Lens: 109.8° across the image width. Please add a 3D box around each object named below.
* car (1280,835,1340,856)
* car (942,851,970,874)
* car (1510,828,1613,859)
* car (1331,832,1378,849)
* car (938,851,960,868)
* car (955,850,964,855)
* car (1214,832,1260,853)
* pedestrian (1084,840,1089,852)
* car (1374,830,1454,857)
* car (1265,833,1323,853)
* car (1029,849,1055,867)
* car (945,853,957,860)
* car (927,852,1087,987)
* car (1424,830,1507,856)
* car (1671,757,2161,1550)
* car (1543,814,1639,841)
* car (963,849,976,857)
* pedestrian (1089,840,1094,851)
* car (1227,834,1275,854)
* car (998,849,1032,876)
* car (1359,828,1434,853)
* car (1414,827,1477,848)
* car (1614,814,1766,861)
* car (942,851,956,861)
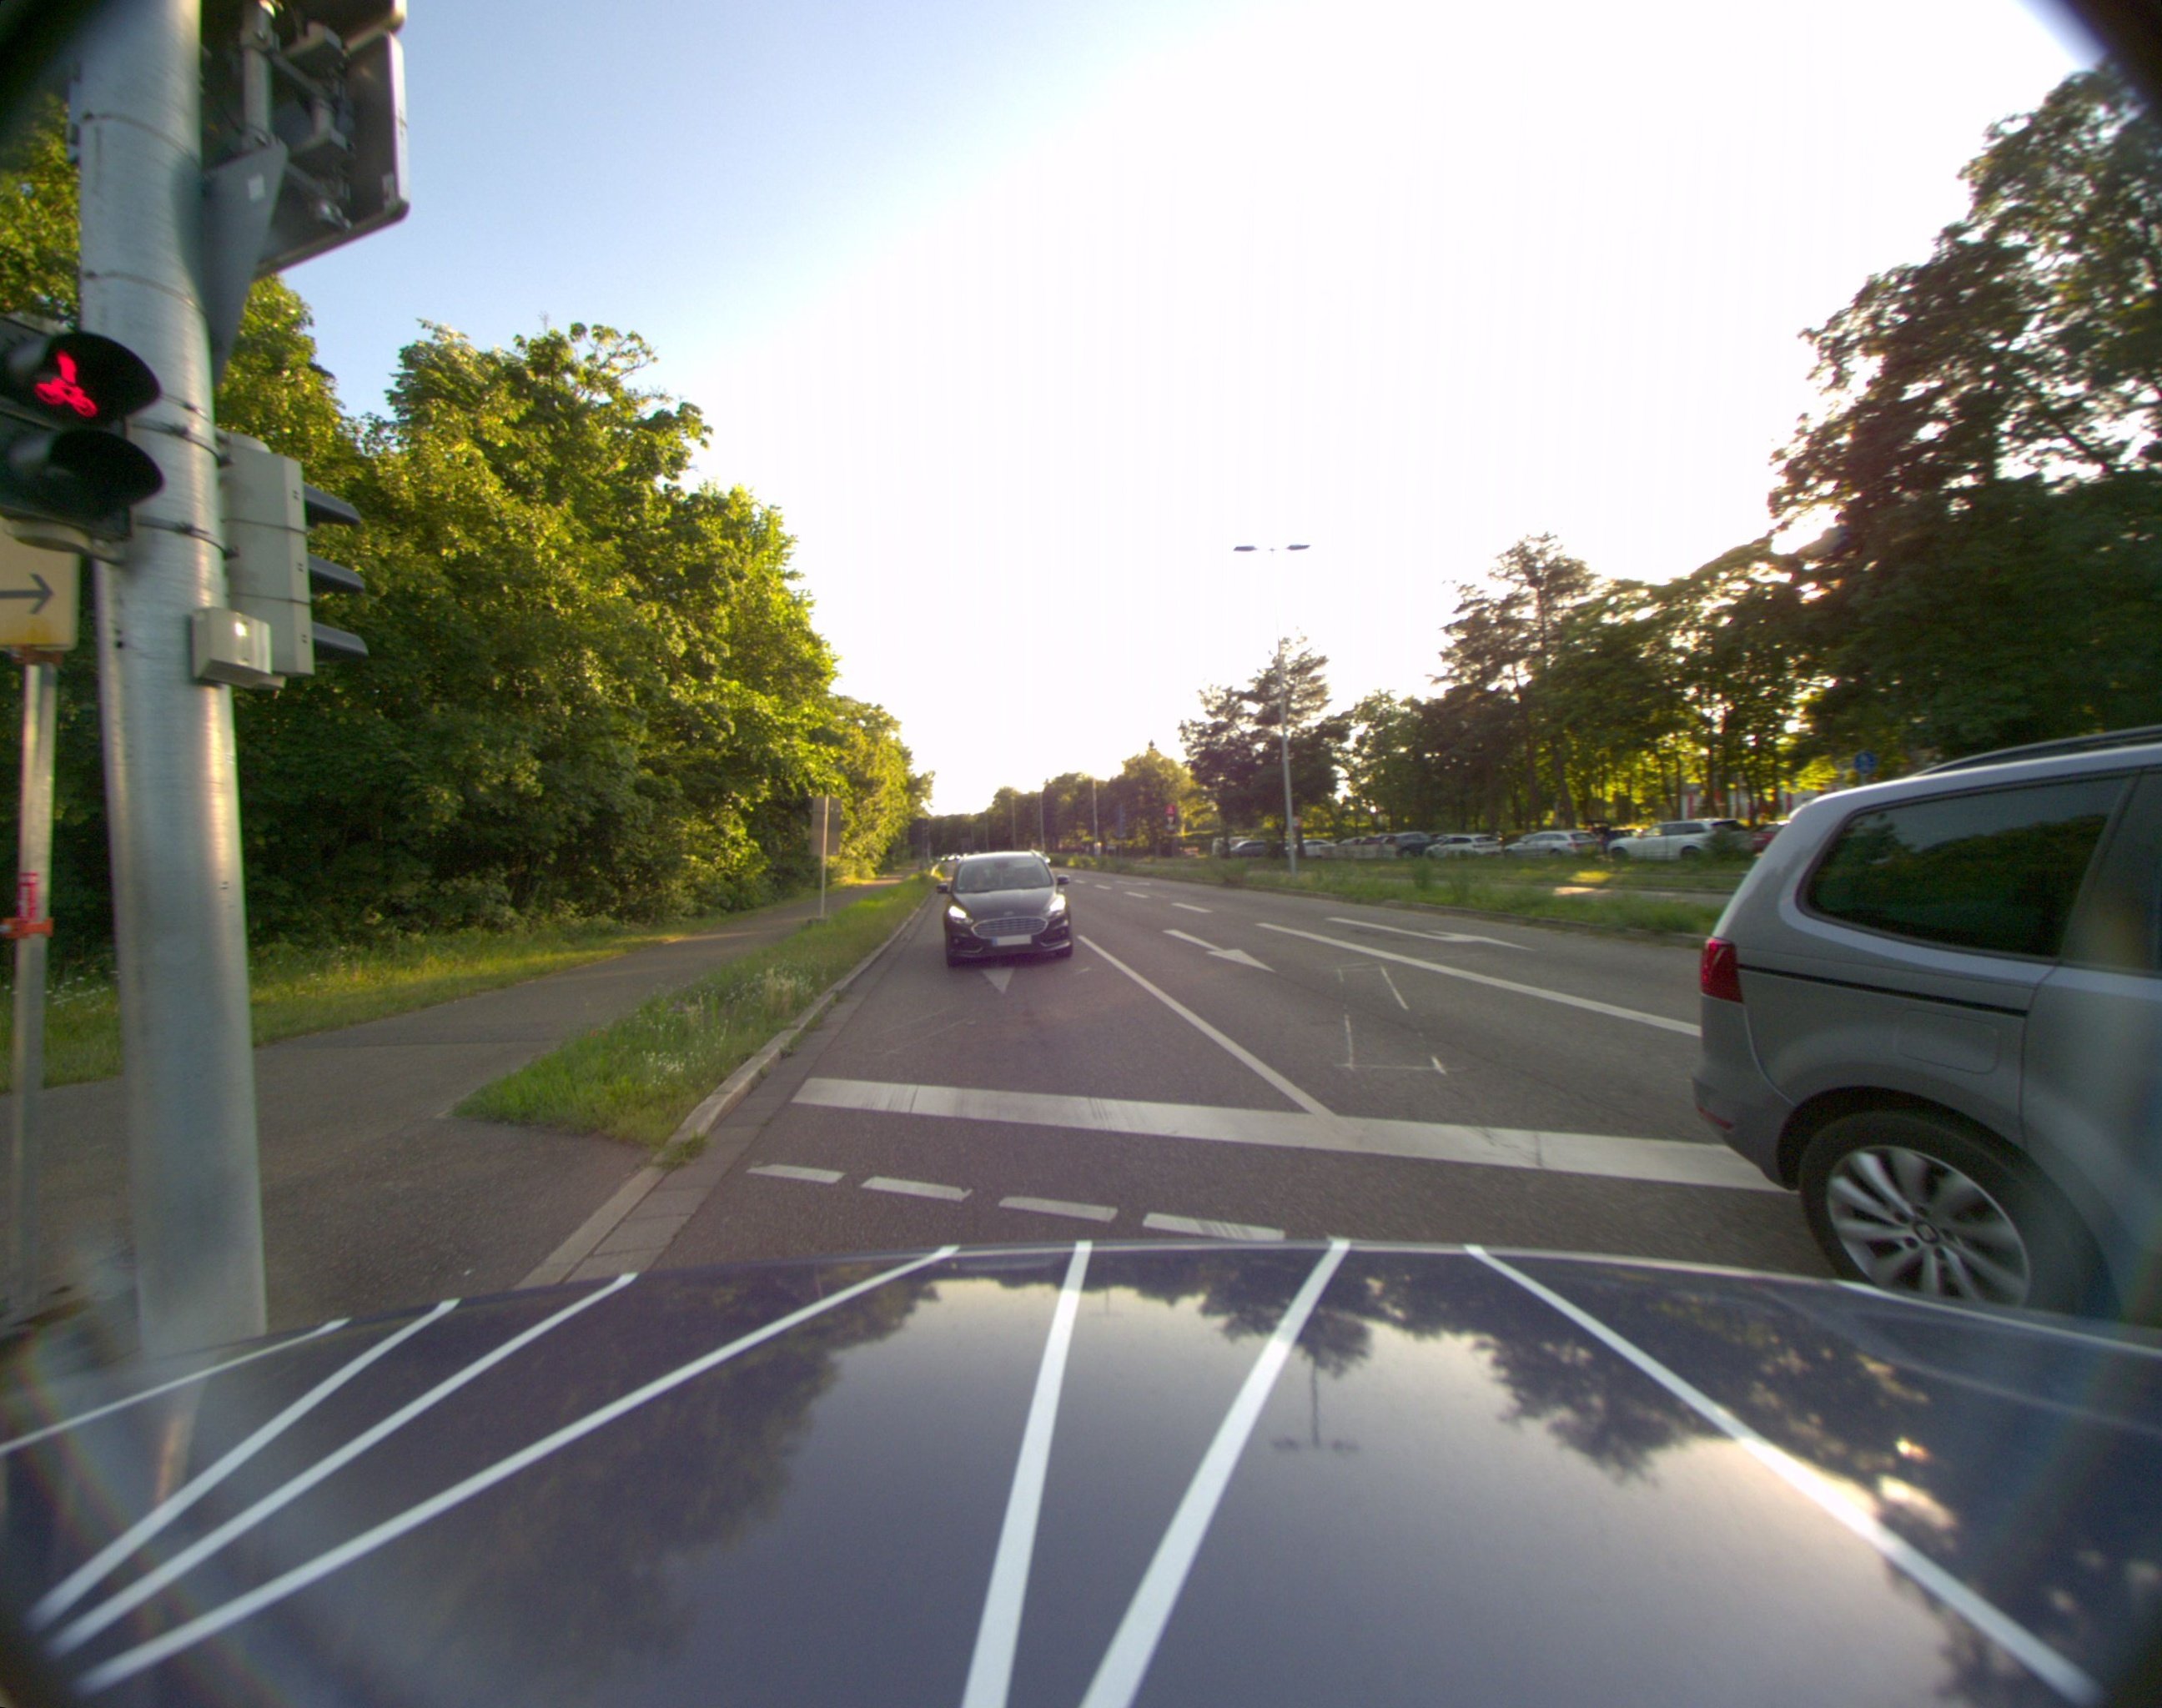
[{"bbox_3d":[17.967,-0.651,59.647,4.171,1.470,1.782,-2,1,-10],"label":"car"},{"bbox_3d":[-10.233,0.659,62.420,2.000,1.615,4.393,-4,1,-7],"label":"car"},{"bbox_3d":[22.625,-0.473,35.988,1.866,1.324,3.995,-2,1,-11],"label":"car"},{"bbox_3d":[24.778,-1.230,69.029,1.866,1.399,4.543,-2,1,-11],"label":"car"},{"bbox_3d":[-14.015,0.589,80.671,2.000,1.615,4.393,-4,1,-7],"label":"car"},{"bbox_3d":[-29.285,-0.361,183.130,1.746,1.281,3.739,-3,1,-16],"label":"car"},{"bbox_3d":[15.224,-1.141,74.198,3.999,1.854,1.824,-2,1,-7],"label":"car"},{"bbox_3d":[0.857,-1.240,117.196,0.567,1.736,0.676,-4,1,-6],"label":"pedestrian"},{"bbox_3d":[20.068,-0.631,45.833,4.049,1.470,1.761,-2,1,-6],"label":"car"},{"bbox_3d":[17.503,-0.887,62.522,4.171,1.470,1.782,-2,1,-10],"label":"car"},{"bbox_3d":[-3.398,0.332,65.988,1.872,1.397,4.072,-4,1,-7],"label":"car"},{"bbox_3d":[-27.061,0.470,158.295,1.873,1.397,4.069,-4,1,-18],"label":"car"},{"bbox_3d":[-1.217,0.876,12.645,2.012,1.651,4.819,-5,0,-5],"label":"car"},{"bbox_3d":[21.328,-0.600,42.373,1.680,1.317,4.494,-2,1,-11],"label":"car"},{"bbox_3d":[3.382,0.623,0.579,1.872,1.714,4.656,-2,1,-7],"label":"car"},{"bbox_3d":[29.286,-1.502,43.817,1.866,1.399,4.543,-2,1,-11],"label":"car"},{"bbox_3d":[-21.930,-0.143,149.038,1.873,1.397,4.070,-4,1,-16],"label":"car"},{"bbox_3d":[1.614,-1.304,117.129,0.567,1.765,0.676,-4,1,-6],"label":"pedestrian"},{"bbox_3d":[15.881,-0.931,71.171,3.999,1.628,1.824,-2,1,-7],"label":"car"},{"bbox_3d":[-4.499,0.522,51.084,2.000,1.615,4.393,-4,1,-7],"label":"car"},{"bbox_3d":[20.500,-0.905,49.411,4.000,1.445,1.998,-2,1,-10],"label":"car"},{"bbox_3d":[26.894,-1.209,56.221,1.866,1.399,4.543,-2,1,-11],"label":"car"},{"bbox_3d":[23.841,-0.633,29.987,1.866,1.649,4.543,-2,1,-11],"label":"car"},{"bbox_3d":[-22.219,0.341,128.130,2.000,1.615,4.393,-4,1,-7],"label":"car"}]
